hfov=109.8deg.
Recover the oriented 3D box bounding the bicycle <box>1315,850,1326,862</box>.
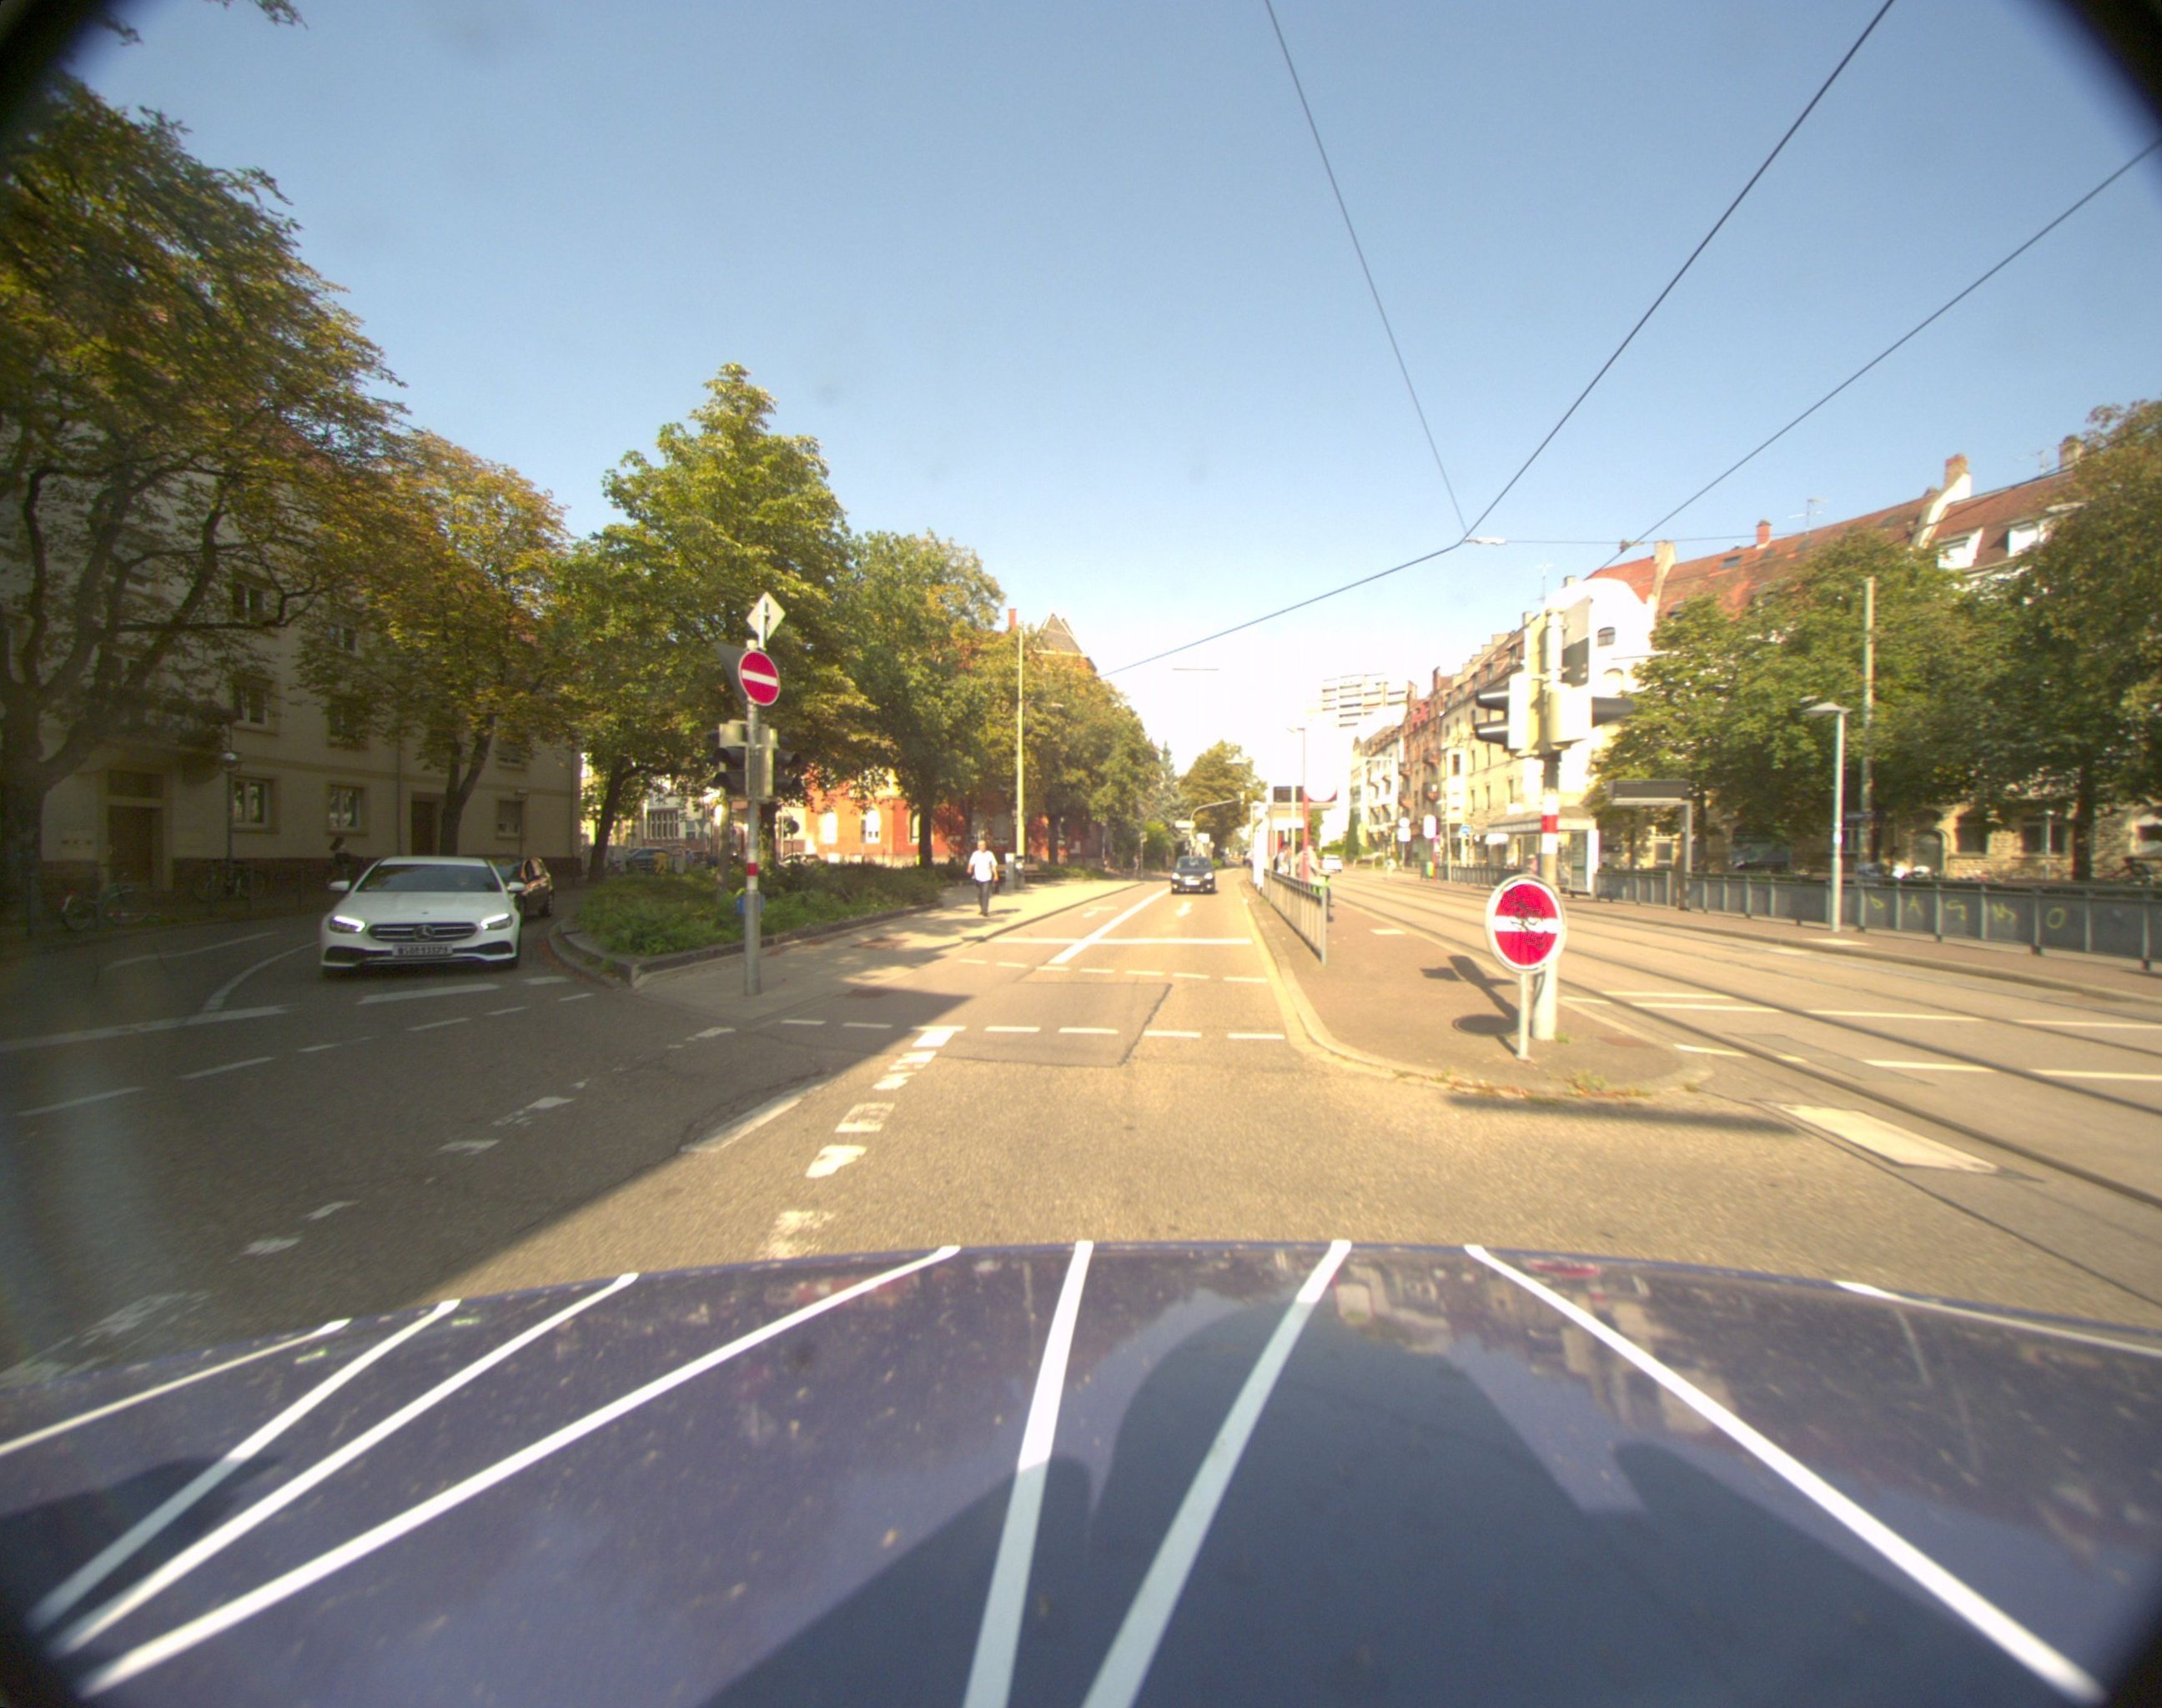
[{"bbox_3d":[38.245,0.286,121.358,1.014,1.847,3.557,-2,0,5],"label":"bicycle"}]

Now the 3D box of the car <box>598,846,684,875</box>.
[{"bbox_3d":[-26.363,0.360,45.668,1.658,1.629,4.203,1,0,31],"label":"car"}]

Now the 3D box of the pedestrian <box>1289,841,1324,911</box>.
[{"bbox_3d":[5.721,0.539,19.291,0.769,1.750,0.681,0,1,9],"label":"pedestrian"}]

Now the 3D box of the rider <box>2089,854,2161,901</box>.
[{"bbox_3d":[34.803,0.774,25.318,0.996,1.503,1.115,-1,1,15],"label":"rider"}]

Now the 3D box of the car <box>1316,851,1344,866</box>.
[{"bbox_3d":[24.613,0.414,75.215,1.732,1.426,3.923,0,0,6],"label":"car"}]

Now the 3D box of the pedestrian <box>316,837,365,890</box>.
[{"bbox_3d":[-23.689,0.298,24.323,0.687,1.662,0.866,0,1,-1],"label":"pedestrian"}]

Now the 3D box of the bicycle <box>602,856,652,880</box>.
[{"bbox_3d":[-20.268,0.634,33.929,1.868,1.052,0.608,0,1,1],"label":"bicycle"}]

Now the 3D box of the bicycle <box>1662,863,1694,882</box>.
[{"bbox_3d":[35.125,1.085,44.675,2.345,1.073,0.695,-1,1,-32],"label":"bicycle"}]

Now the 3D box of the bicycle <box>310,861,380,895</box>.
[{"bbox_3d":[-23.622,0.748,24.432,0.534,1.001,1.908,0,0,-6],"label":"bicycle"}]

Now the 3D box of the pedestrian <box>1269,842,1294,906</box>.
[{"bbox_3d":[5.763,0.570,21.880,0.605,1.796,0.730,0,1,9],"label":"pedestrian"}]

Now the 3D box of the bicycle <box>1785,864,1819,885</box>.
[{"bbox_3d":[37.576,1.048,39.571,2.345,1.073,0.695,0,1,-32],"label":"bicycle"}]

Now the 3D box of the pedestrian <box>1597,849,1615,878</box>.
[{"bbox_3d":[34.009,0.600,49.205,0.734,1.857,0.673,0,1,7],"label":"pedestrian"}]

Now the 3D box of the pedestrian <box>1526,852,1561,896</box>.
[{"bbox_3d":[15.378,0.660,25.266,0.793,1.448,0.719,0,1,11],"label":"pedestrian"}]

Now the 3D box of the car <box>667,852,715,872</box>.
[{"bbox_3d":[-31.047,0.619,60.456,3.989,1.558,1.625,0,0,32],"label":"car"}]

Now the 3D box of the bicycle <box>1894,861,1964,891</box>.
[{"bbox_3d":[39.729,1.033,35.627,2.301,1.363,0.867,0,1,0],"label":"bicycle"}]

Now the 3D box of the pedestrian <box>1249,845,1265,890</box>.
[{"bbox_3d":[6.995,0.531,30.200,0.590,1.754,0.607,0,1,13],"label":"pedestrian"}]

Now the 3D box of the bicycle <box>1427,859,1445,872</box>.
[{"bbox_3d":[29.226,0.948,62.629,0.545,1.097,1.896,0,0,-3],"label":"bicycle"}]

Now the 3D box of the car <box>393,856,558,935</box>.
[{"bbox_3d":[-12.487,0.786,15.965,1.754,1.443,3.882,2,-1,-24],"label":"car"}]

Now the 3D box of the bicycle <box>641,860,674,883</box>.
[{"bbox_3d":[-19.519,0.796,34.991,1.834,1.052,0.610,0,1,37],"label":"bicycle"}]

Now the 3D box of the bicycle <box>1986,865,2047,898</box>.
[{"bbox_3d":[40.287,1.161,32.726,2.305,1.363,0.866,0,1,-18],"label":"bicycle"}]

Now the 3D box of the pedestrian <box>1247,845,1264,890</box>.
[{"bbox_3d":[7.086,0.543,30.860,0.637,1.837,0.634,0,1,13],"label":"pedestrian"}]

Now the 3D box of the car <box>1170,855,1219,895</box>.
[{"bbox_3d":[4.549,0.785,30.087,1.774,1.459,4.003,-1,0,10],"label":"car"}]

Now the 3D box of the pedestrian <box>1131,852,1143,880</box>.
[{"bbox_3d":[3.467,0.714,47.059,0.542,1.708,0.662,1,1,26],"label":"pedestrian"}]

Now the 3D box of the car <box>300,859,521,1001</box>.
[{"bbox_3d":[-9.247,0.875,10.757,1.881,1.460,4.940,3,-1,-39],"label":"car"}]

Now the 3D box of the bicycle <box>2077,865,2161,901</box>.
[{"bbox_3d":[40.917,1.122,29.912,2.302,1.363,0.867,0,1,-1],"label":"bicycle"}]

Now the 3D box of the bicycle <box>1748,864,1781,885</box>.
[{"bbox_3d":[36.743,1.089,40.825,2.345,1.073,0.695,-1,1,-32],"label":"bicycle"}]

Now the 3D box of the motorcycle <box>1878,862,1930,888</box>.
[{"bbox_3d":[39.579,0.991,36.546,1.883,1.170,0.677,-1,1,-4],"label":"motorcycle"}]

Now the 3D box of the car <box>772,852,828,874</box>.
[{"bbox_3d":[-19.859,0.606,53.725,3.989,1.558,1.625,0,0,32],"label":"car"}]

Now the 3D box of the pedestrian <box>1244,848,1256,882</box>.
[{"bbox_3d":[8.970,0.558,40.289,0.559,1.792,0.677,0,1,14],"label":"pedestrian"}]

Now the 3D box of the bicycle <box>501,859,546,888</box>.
[{"bbox_3d":[-21.769,0.755,29.686,0.416,1.054,1.490,1,1,14],"label":"bicycle"}]

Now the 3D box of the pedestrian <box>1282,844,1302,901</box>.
[{"bbox_3d":[6.510,0.565,23.462,0.553,1.750,0.534,0,1,9],"label":"pedestrian"}]

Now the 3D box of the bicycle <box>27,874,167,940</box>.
[{"bbox_3d":[-16.933,0.883,13.140,0.609,1.052,1.836,0,-1,-21],"label":"bicycle"}]

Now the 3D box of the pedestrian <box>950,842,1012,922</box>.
[{"bbox_3d":[-2.294,0.625,17.561,1.078,1.715,0.970,3,1,10],"label":"pedestrian"}]

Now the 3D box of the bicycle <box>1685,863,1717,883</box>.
[{"bbox_3d":[35.543,1.069,43.531,2.345,1.073,0.695,-1,1,-32],"label":"bicycle"}]

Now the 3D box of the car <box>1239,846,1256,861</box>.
[{"bbox_3d":[25.790,-0.130,117.705,2.084,2.264,4.833,0,0,18],"label":"car"}]

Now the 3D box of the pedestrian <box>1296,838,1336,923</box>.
[{"bbox_3d":[4.980,0.551,16.133,0.691,1.756,0.797,0,1,9],"label":"pedestrian"}]

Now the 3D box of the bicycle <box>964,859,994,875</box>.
[{"bbox_3d":[-6.832,0.870,50.937,1.843,1.052,0.607,-2,-1,-38],"label":"bicycle"}]

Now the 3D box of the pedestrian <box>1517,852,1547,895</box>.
[{"bbox_3d":[15.607,0.662,26.287,0.678,1.448,0.719,0,1,11],"label":"pedestrian"}]

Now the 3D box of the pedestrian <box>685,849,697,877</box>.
[{"bbox_3d":[-24.555,0.546,47.828,0.656,1.754,0.605,0,1,-28],"label":"pedestrian"}]

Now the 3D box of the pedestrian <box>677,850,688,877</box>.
[{"bbox_3d":[-25.405,0.606,48.465,0.592,1.754,0.605,0,1,-30],"label":"pedestrian"}]

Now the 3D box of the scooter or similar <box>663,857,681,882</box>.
[{"bbox_3d":[-19.421,0.709,36.102,0.443,1.151,1.110,-1,1,-44],"label":"scooter or similar"}]

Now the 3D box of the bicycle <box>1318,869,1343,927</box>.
[{"bbox_3d":[5.256,0.893,15.990,0.473,1.097,1.740,1,1,19],"label":"bicycle"}]

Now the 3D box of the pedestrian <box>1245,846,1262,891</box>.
[{"bbox_3d":[7.158,0.597,31.528,0.637,1.837,0.634,0,1,13],"label":"pedestrian"}]

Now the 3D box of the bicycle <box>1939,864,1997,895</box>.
[{"bbox_3d":[40.083,1.122,34.327,2.305,1.363,0.866,0,1,-18],"label":"bicycle"}]

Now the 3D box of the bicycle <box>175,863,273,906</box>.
[{"bbox_3d":[-21.474,0.731,19.093,0.534,1.001,1.907,0,0,-10],"label":"bicycle"}]

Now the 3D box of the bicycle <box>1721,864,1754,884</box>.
[{"bbox_3d":[36.629,1.121,42.389,2.345,1.073,0.695,0,1,-32],"label":"bicycle"}]
